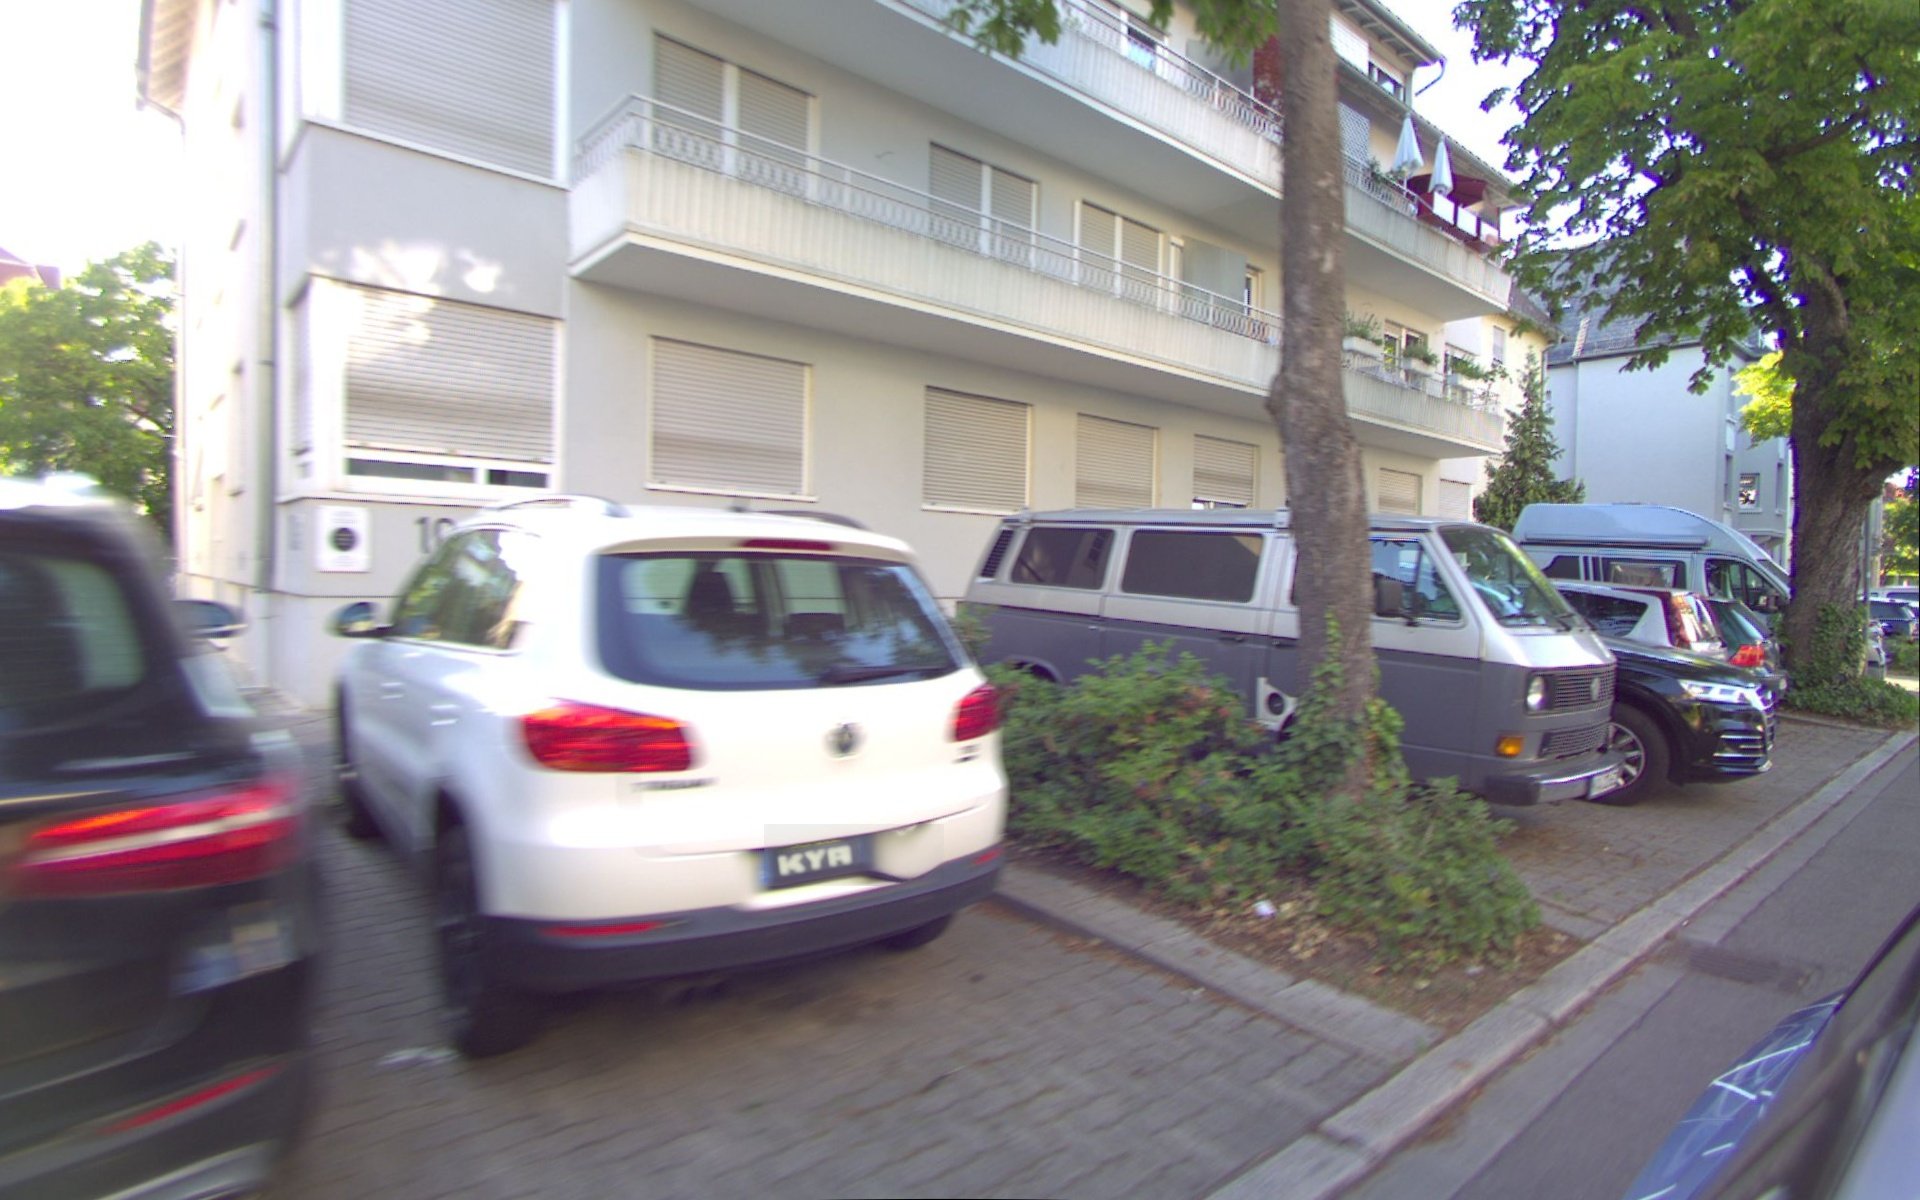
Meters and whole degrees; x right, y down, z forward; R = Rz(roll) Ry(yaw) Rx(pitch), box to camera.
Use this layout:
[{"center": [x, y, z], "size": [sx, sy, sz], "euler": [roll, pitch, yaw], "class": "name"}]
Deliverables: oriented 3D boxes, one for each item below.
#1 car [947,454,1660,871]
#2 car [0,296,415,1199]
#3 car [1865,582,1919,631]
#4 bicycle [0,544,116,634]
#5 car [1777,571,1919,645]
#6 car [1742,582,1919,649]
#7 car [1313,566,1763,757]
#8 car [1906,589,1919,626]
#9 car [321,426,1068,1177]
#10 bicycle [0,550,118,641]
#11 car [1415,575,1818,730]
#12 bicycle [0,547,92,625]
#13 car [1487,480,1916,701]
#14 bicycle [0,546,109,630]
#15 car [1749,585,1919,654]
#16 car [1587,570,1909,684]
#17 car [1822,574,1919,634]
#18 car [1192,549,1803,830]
[{"center": [2.093, 0.228, 7.234], "size": [1.864, 2.038, 4.476], "euler": [0, 2, -42], "class": "car"}, {"center": [-3.021, 0.297, 2.866], "size": [1.676, 1.703, 4.341], "euler": [0, 3, -41], "class": "car"}, {"center": [35.974, 0.296, 36.830], "size": [1.758, 1.726, 4.211], "euler": [0, 2, -37], "class": "car"}, {"center": [-12.963, -0.155, 13.872], "size": [0.742, 1.184, 2.077], "euler": [1, 1, 19], "class": "bicycle"}, {"center": [25.819, 0.187, 28.373], "size": [1.730, 1.907, 4.306], "euler": [-1, 3, -43], "class": "car"}, {"center": [23.612, 0.365, 26.841], "size": [1.729, 1.560, 4.306], "euler": [0, 3, -43], "class": "car"}, {"center": [5.821, 0.461, 10.556], "size": [1.610, 1.573, 3.729], "euler": [-1, 3, -39], "class": "car"}, {"center": [40.914, 0.390, 40.957], "size": [1.647, 1.516, 3.679], "euler": [0, 2, -40], "class": "car"}, {"center": [-1.540, 0.350, 4.366], "size": [1.674, 1.703, 3.961], "euler": [1, 3, -38], "class": "car"}, {"center": [-11.881, -0.062, 12.600], "size": [0.742, 1.100, 2.077], "euler": [1, 1, 19], "class": "bicycle"}, {"center": [7.710, 0.485, 12.139], "size": [1.729, 1.448, 3.727], "euler": [-2, 4, -42], "class": "car"}, {"center": [-14.715, -0.220, 15.492], "size": [0.742, 1.184, 2.077], "euler": [1, 1, 19], "class": "bicycle"}, {"center": [11.472, -0.250, 16.005], "size": [2.041, 2.938, 5.102], "euler": [0, 3, -43], "class": "car"}, {"center": [-13.808, -0.184, 14.749], "size": [0.742, 1.184, 2.077], "euler": [1, 1, 19], "class": "bicycle"}, {"center": [21.814, 0.440, 24.967], "size": [1.728, 1.444, 3.410], "euler": [0, 3, -41], "class": "car"}, {"center": [13.714, 0.363, 17.818], "size": [1.729, 1.587, 4.197], "euler": [0, 4, -42], "class": "car"}, {"center": [33.224, 0.151, 35.068], "size": [1.915, 1.960, 4.819], "euler": [0, 2, -40], "class": "car"}, {"center": [4.227, 0.475, 8.402], "size": [4.174, 1.744, 1.739], "euler": [3, 3, 42], "class": "car"}]
